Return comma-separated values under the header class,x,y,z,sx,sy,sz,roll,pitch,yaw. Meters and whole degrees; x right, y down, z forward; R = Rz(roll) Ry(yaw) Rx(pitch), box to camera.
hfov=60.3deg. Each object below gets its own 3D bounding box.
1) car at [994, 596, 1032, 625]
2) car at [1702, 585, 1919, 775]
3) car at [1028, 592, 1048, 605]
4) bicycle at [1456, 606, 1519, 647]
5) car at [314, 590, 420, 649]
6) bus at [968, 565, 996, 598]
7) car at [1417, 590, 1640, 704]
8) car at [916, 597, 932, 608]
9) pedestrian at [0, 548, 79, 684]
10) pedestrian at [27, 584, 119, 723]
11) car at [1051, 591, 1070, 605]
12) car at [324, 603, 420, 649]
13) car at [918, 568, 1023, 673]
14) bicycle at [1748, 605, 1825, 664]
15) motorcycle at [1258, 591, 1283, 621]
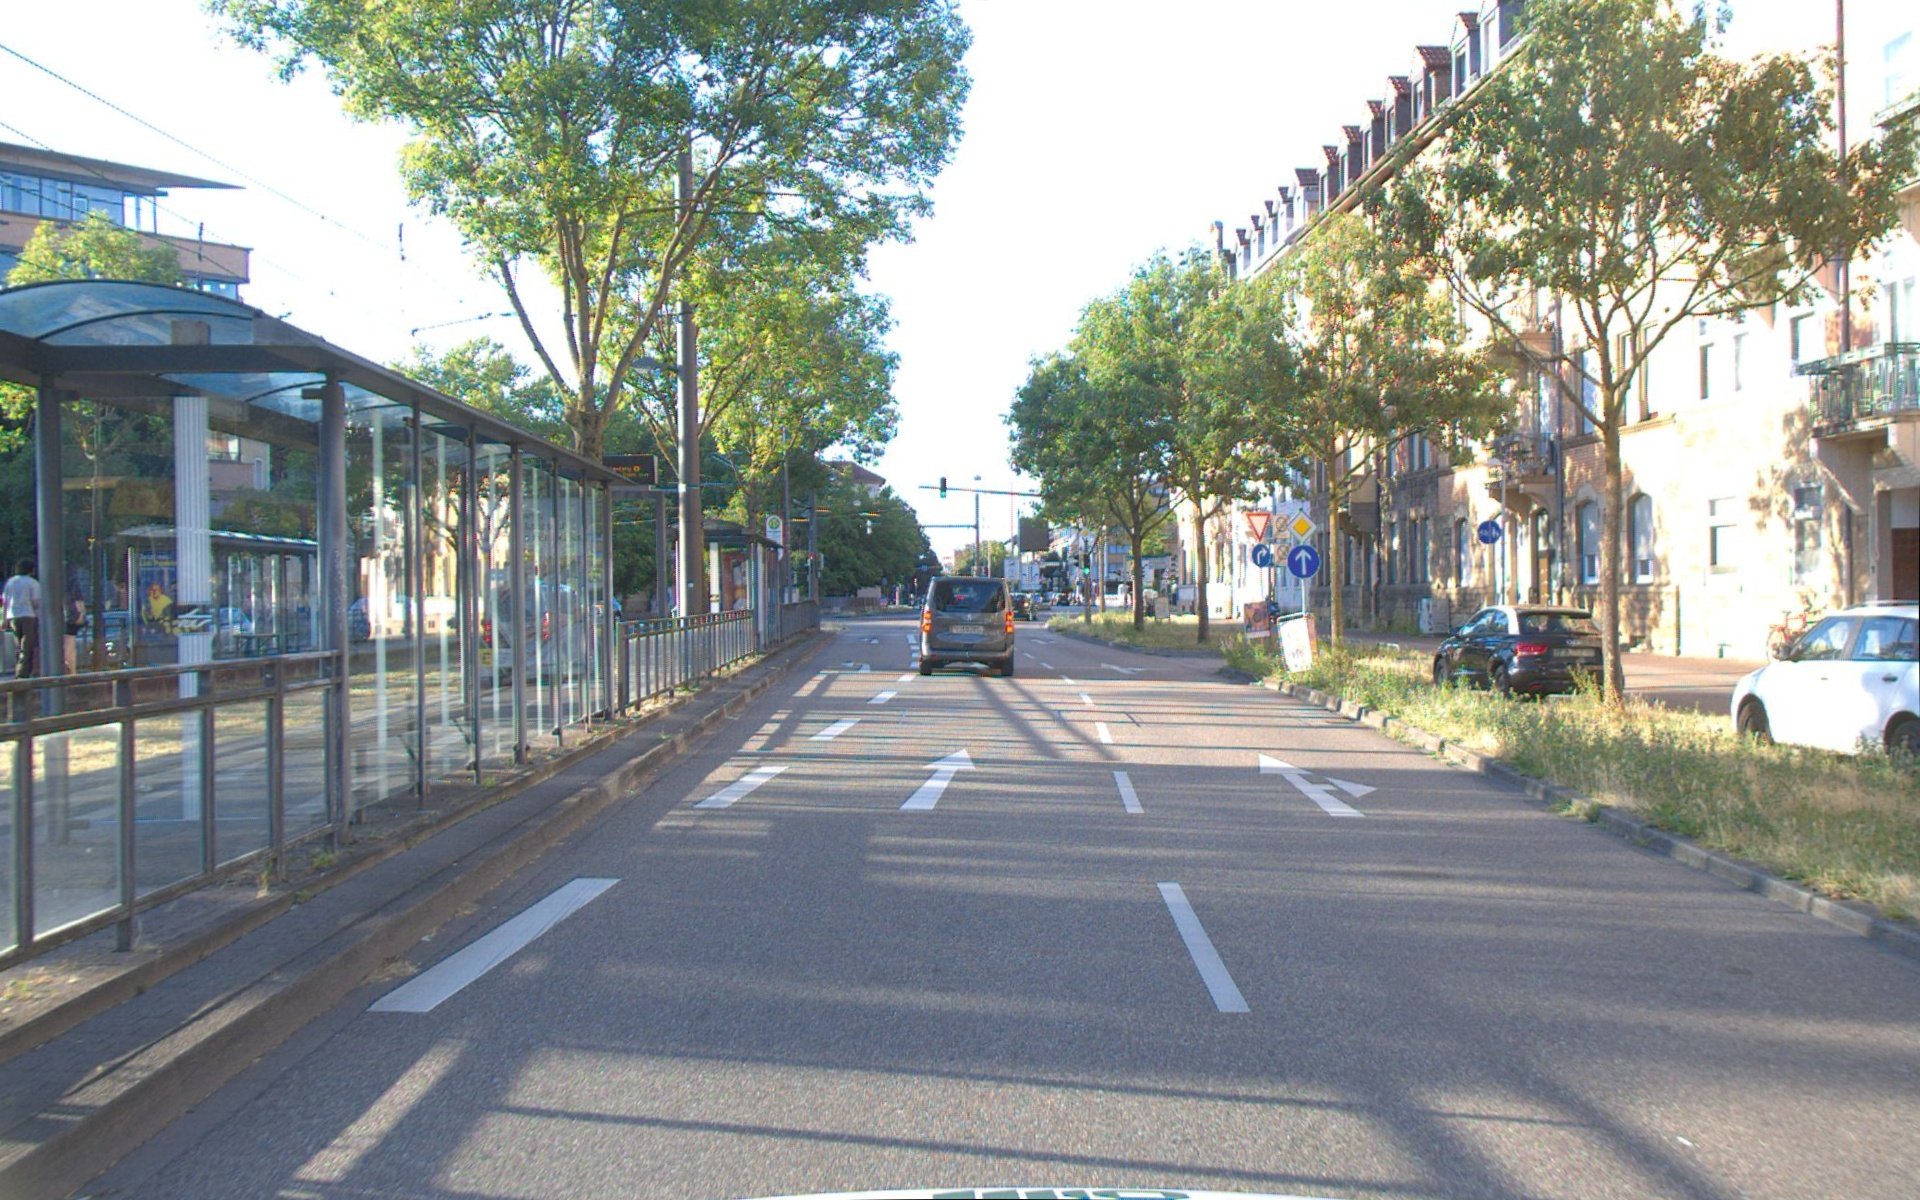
class,x,y,z,sx,sy,sz,roll,pitch,yaw
car,2.853,0.544,90.032,1.952,1.537,4.000,1,0,1
car,8.560,0.668,14.842,1.691,1.538,4.270,2,0,-3
car,9.856,-0.182,208.561,1.954,1.685,4.295,-1,0,-5
bicycle,13.095,0.644,41.116,0.854,0.932,2.084,-2,0,-1
car,-17.548,0.545,49.100,1.822,1.683,3.998,0,0,-2
bus,3.205,-2.743,245.187,3.226,4.698,9.989,1,0,-5
car,8.208,0.618,24.297,1.669,1.474,4.287,2,0,-2
car,-5.527,0.434,254.784,1.951,1.623,4.002,-1,0,5
pedestrian,-14.375,0.243,25.683,0.754,2.049,1.127,-1,0,0
pedestrian,-13.461,0.795,25.128,0.754,2.049,1.127,-1,0,0
car,12.378,-0.208,203.522,1.953,1.685,4.298,-1,0,-1
car,-19.160,0.825,54.093,1.758,1.440,4.339,1,0,-3
car,0.174,0.389,33.297,1.953,1.934,4.298,1,0,-1
bicycle,15.091,0.619,30.229,0.473,1.023,1.746,-1,0,-2
motorcycle,13.193,0.253,70.347,0.542,1.235,2.071,1,0,-4
